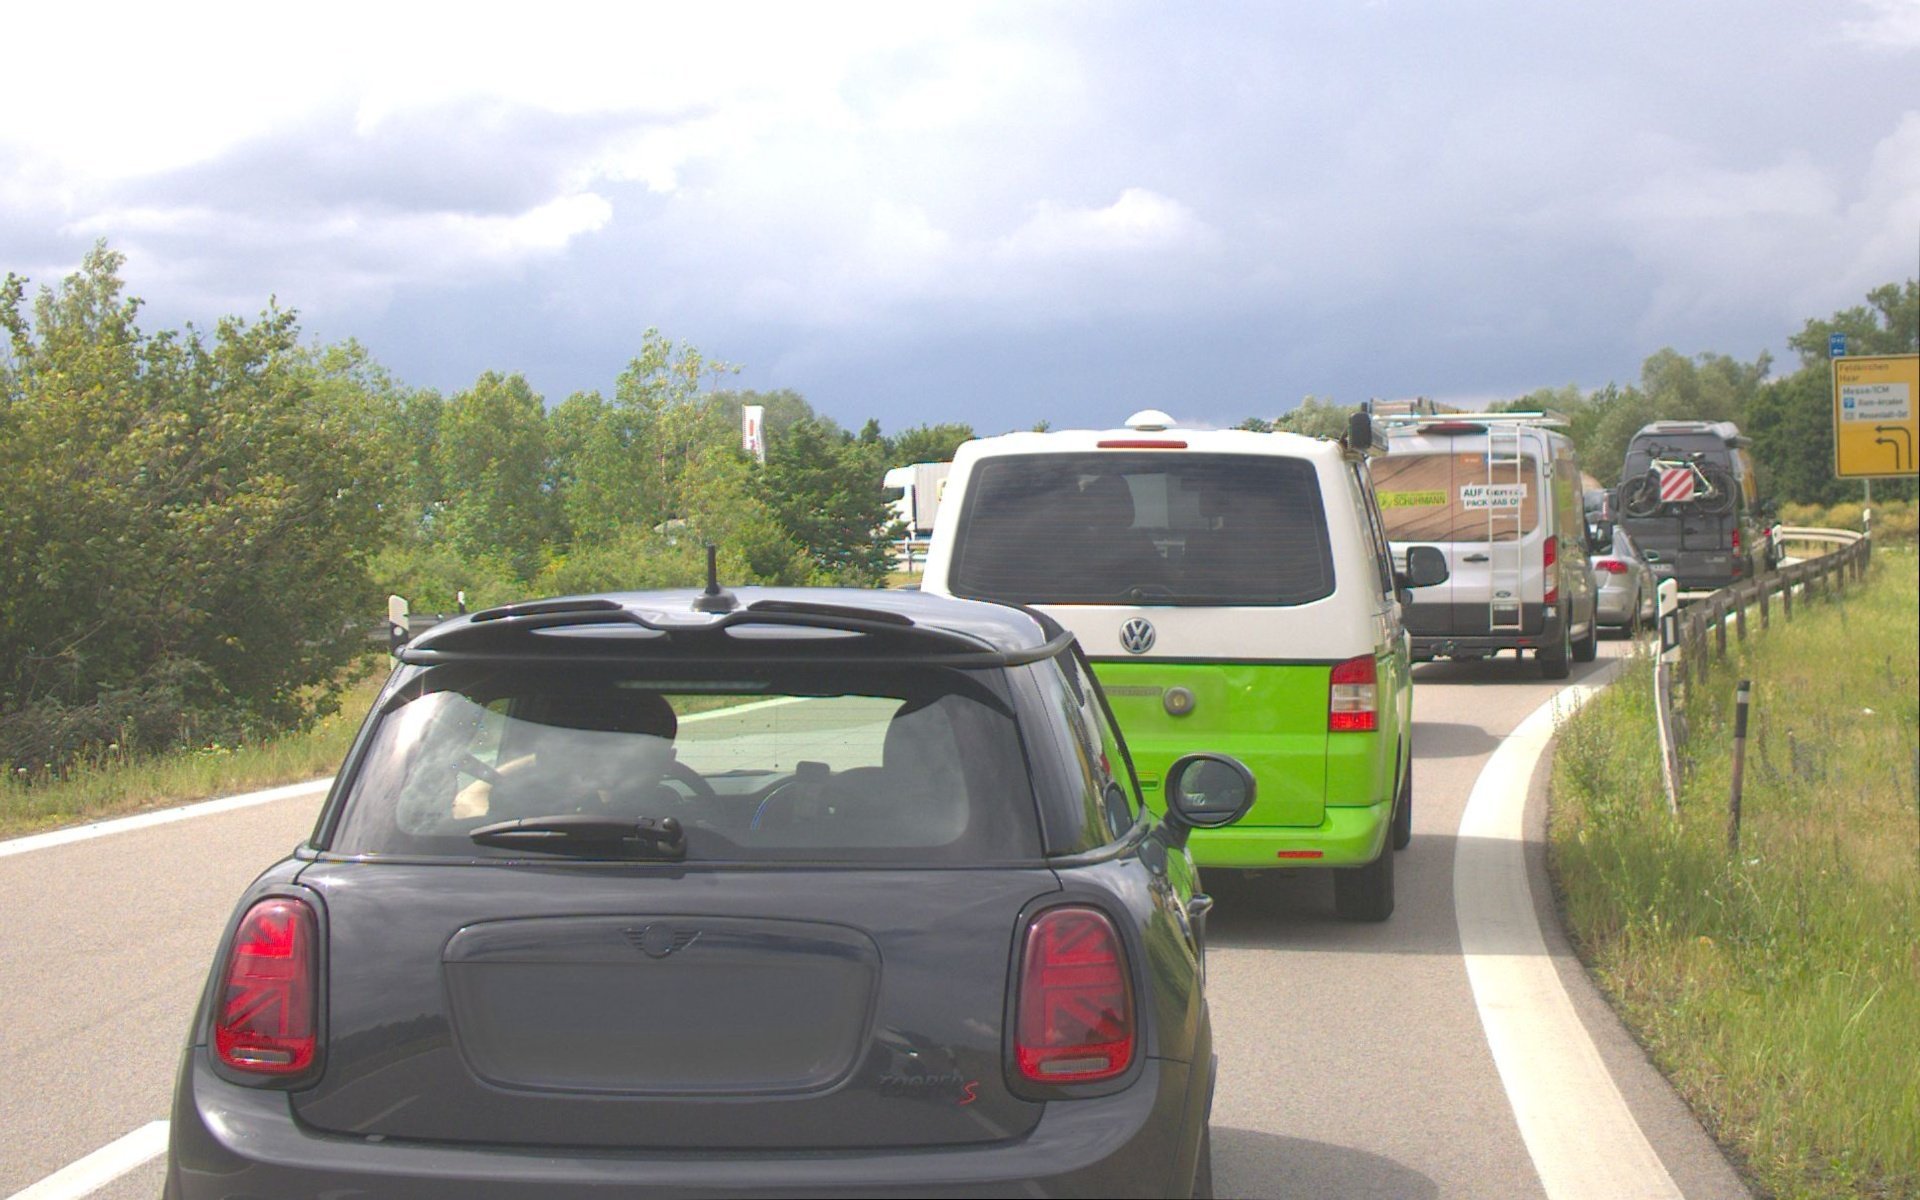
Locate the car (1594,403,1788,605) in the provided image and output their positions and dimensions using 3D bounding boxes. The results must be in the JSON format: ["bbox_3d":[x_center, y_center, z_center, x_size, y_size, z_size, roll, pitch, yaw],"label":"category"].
[{"bbox_3d":[11.861,-1.485,55.408,2.313,3.058,6.656,1,1,18],"label":"car"}]

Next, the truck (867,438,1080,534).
[{"bbox_3d":[0.513,-4.838,147.724,10.024,3.962,2.838,1,1,45],"label":"truck"}]

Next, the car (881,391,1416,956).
[{"bbox_3d":[0.951,0.231,14.598,1.911,2.038,4.180,0,1,8],"label":"car"}]

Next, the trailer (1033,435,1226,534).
[{"bbox_3d":[6.868,-4.662,140.599,3.036,3.884,8.771,0,1,-36],"label":"trailer"}]

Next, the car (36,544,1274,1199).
[{"bbox_3d":[-0.337,0.673,6.834,1.800,1.541,3.738,0,1,4],"label":"car"}]

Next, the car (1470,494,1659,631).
[{"bbox_3d":[7.706,-0.472,43.569,1.995,1.636,3.926,1,1,15],"label":"car"}]

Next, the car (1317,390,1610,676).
[{"bbox_3d":[5.139,-0.647,34.415,2.213,2.613,5.530,1,1,15],"label":"car"}]
